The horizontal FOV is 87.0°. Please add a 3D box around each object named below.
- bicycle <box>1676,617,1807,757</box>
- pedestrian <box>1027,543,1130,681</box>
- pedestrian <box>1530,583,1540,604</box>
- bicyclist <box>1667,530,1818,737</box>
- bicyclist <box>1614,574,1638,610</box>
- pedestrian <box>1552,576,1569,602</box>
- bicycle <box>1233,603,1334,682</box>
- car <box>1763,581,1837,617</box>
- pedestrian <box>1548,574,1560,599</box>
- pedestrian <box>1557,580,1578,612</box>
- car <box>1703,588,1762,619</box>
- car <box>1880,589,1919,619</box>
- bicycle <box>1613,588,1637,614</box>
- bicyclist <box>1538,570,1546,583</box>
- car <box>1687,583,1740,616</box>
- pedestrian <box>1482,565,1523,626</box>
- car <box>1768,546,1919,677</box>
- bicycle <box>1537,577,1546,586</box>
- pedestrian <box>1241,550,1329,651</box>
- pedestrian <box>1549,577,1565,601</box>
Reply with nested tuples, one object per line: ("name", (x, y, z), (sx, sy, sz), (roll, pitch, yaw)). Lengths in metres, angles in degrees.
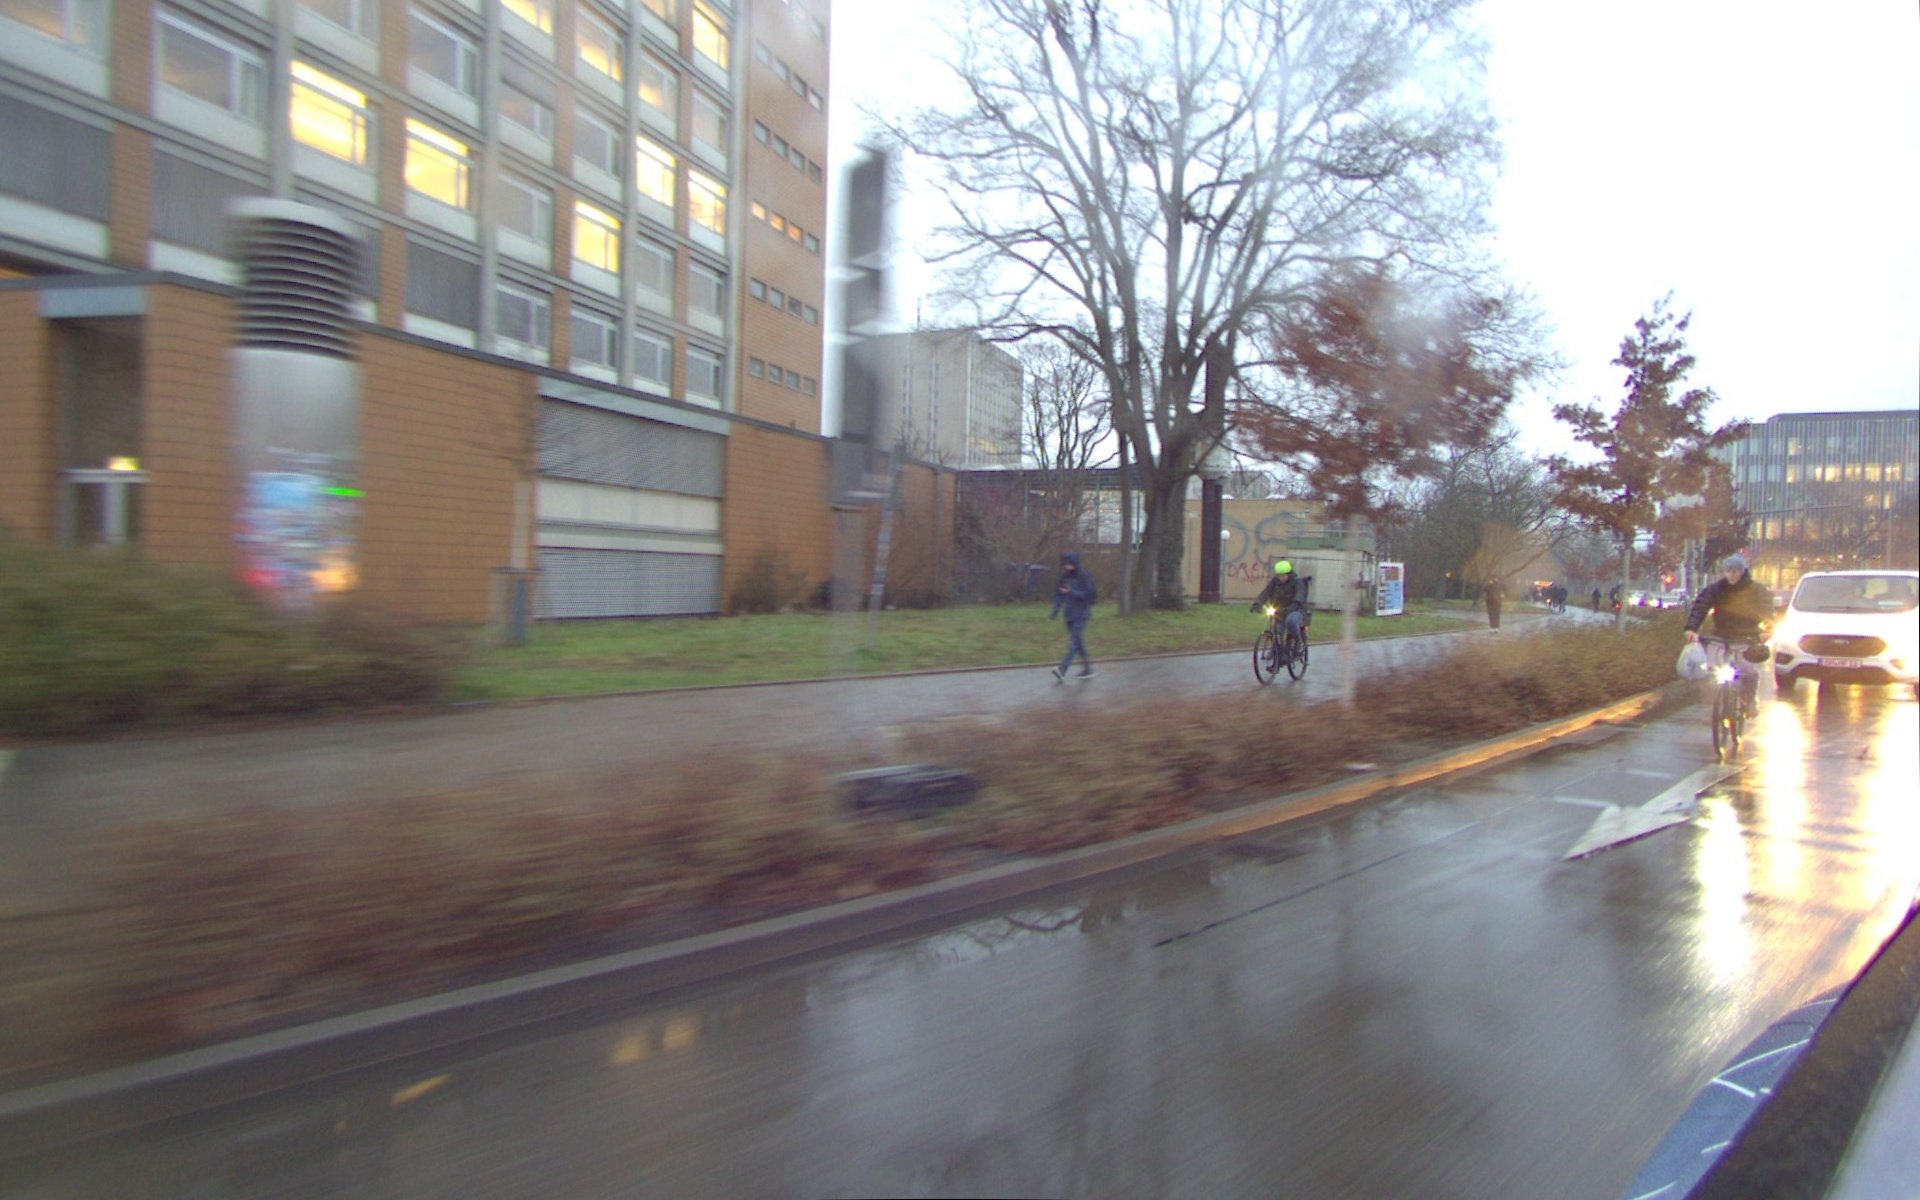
("bicycle", (7.901, 0.809, 10.198), (1.872, 1.238, 0.793), (0, 0, -44))
("pedestrian", (1.562, 0.133, 13.346), (0.808, 1.708, 1.053), (5, 3, 44))
("pedestrian", (57.077, -0.695, 100.511), (0.758, 2.038, 0.766), (2, 2, 26))
("bicyclist", (7.838, 0.300, 10.134), (1.215, 1.907, 1.025), (0, 0, -43))
("bicyclist", (32.235, -0.384, 48.974), (0.802, 1.637, 1.071), (6, 4, 36))
("pedestrian", (43.047, -0.787, 72.506), (0.925, 1.848, 0.826), (3, 2, 28))
("bicycle", (4.546, 0.560, 14.151), (0.561, 0.958, 2.064), (3, 3, 41))
("car", (45.550, -0.092, 55.013), (1.981, 1.771, 4.899), (3, 2, 27))
("pedestrian", (49.945, -1.162, 85.130), (0.758, 2.038, 0.902), (2, 2, 26))
("pedestrian", (35.797, -0.235, 59.663), (0.925, 1.848, 0.826), (3, 2, 28))
("car", (42.667, 0.148, 56.004), (1.758, 1.504, 4.429), (3, 2, 27))
("car", (49.279, 0.206, 51.942), (1.914, 1.393, 4.456), (3, 2, 27))
("bicycle", (32.149, 0.042, 48.911), (0.802, 1.155, 2.185), (6, 4, 36))
("bicyclist", (68.503, -2.730, 119.117), (0.761, 1.508, 0.985), (2, 2, 28))
("car", (45.847, -0.069, 61.633), (1.983, 1.860, 3.959), (2, 2, 29))
("pedestrian", (15.873, -0.135, 29.596), (0.906, 1.708, 0.916), (4, 1, 33))
("car", (15.761, 0.241, 17.260), (4.927, 1.945, 2.136), (3, 0, -40))
("bicycle", (68.502, -2.201, 119.158), (0.787, 1.028, 2.875), (2, 3, 28))
("pedestrian", (4.550, -0.014, 14.175), (0.874, 1.333, 0.835), (3, 3, 42))
("pedestrian", (45.999, -0.851, 77.959), (0.925, 1.848, 0.826), (3, 2, 28))
